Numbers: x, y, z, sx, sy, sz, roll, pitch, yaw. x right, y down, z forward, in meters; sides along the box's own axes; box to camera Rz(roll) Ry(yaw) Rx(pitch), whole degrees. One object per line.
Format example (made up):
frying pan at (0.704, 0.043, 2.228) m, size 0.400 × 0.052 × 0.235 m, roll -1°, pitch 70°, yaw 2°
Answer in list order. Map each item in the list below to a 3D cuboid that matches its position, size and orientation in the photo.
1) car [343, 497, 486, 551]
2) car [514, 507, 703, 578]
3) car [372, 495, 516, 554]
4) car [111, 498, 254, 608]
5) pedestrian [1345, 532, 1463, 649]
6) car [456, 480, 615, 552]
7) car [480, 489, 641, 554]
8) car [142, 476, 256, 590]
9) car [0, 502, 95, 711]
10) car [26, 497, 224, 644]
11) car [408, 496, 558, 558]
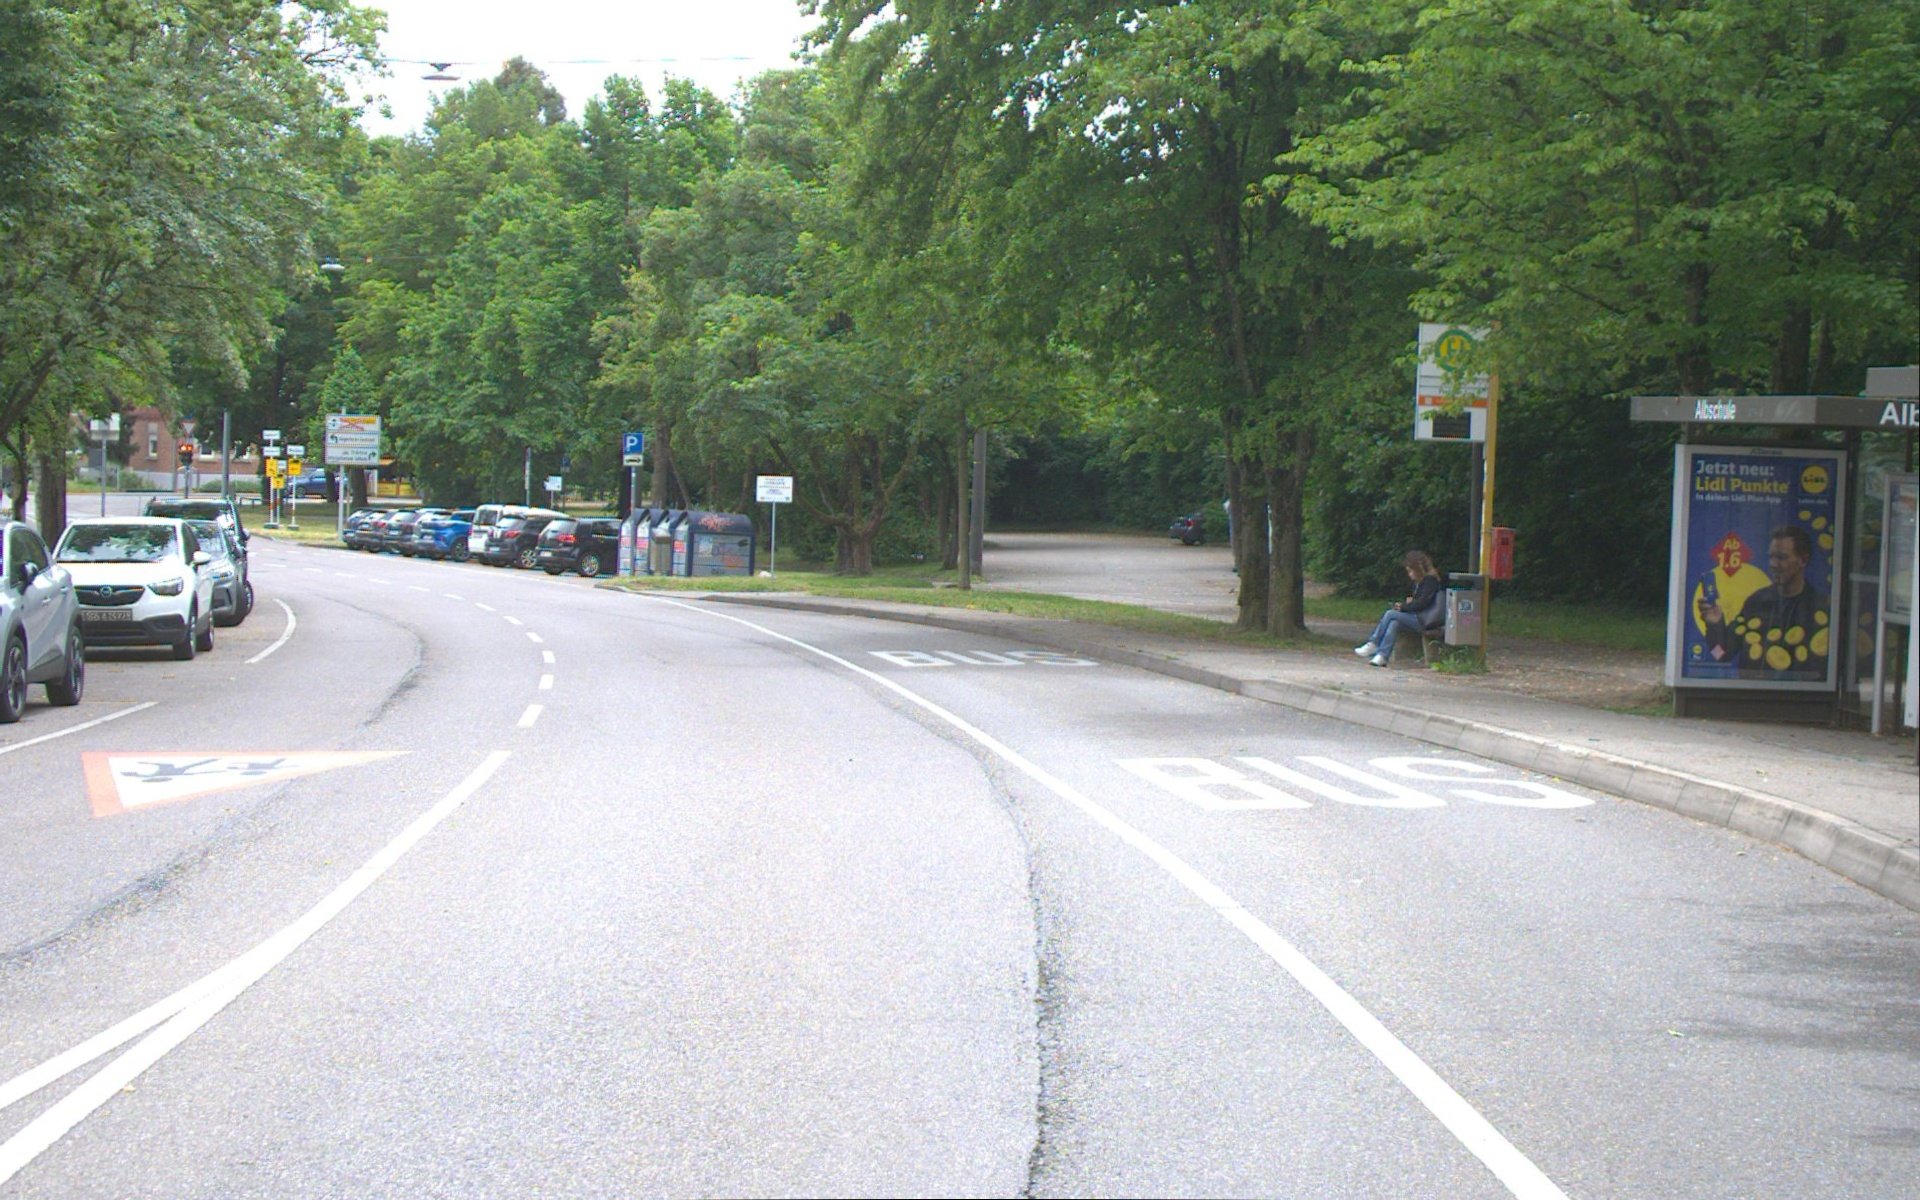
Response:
car at (-16.796, -2.343, 105.928) m, size 3.874 × 1.421 × 1.830 m, roll 3°, pitch 0°, yaw -37°
car at (-8.533, -1.397, 83.469) m, size 3.987 × 1.409 × 2.057 m, roll 3°, pitch 2°, yaw -37°
car at (-15.454, -2.251, 103.032) m, size 3.819 × 1.523 × 1.746 m, roll 3°, pitch 0°, yaw -37°
car at (-11.392, -0.723, 50.585) m, size 1.865 × 1.532 × 4.228 m, roll 0°, pitch 2°, yaw -10°
pedestrian at (4.592, -0.101, 35.568) m, size 1.063 × 1.178 × 0.580 m, roll 1°, pitch 2°, yaw -10°
car at (-11.614, -2.288, 94.092) m, size 3.819 × 1.714 × 1.878 m, roll 3°, pitch 0°, yaw -37°
car at (-10.598, -2.082, 91.346) m, size 3.819 × 1.463 × 1.746 m, roll 3°, pitch 1°, yaw -37°
car at (-13.387, -1.206, 60.499) m, size 1.857 × 1.902 × 5.085 m, roll 0°, pitch 2°, yaw -12°
car at (-8.111, -0.004, 27.275) m, size 1.735 × 1.532 × 4.190 m, roll 0°, pitch 2°, yaw -4°
car at (-9.440, -0.383, 39.130) m, size 1.735 × 1.573 × 4.142 m, roll 0°, pitch 2°, yaw -7°
car at (-13.650, -2.081, 98.449) m, size 3.819 × 1.523 × 1.746 m, roll 3°, pitch 0°, yaw -37°
